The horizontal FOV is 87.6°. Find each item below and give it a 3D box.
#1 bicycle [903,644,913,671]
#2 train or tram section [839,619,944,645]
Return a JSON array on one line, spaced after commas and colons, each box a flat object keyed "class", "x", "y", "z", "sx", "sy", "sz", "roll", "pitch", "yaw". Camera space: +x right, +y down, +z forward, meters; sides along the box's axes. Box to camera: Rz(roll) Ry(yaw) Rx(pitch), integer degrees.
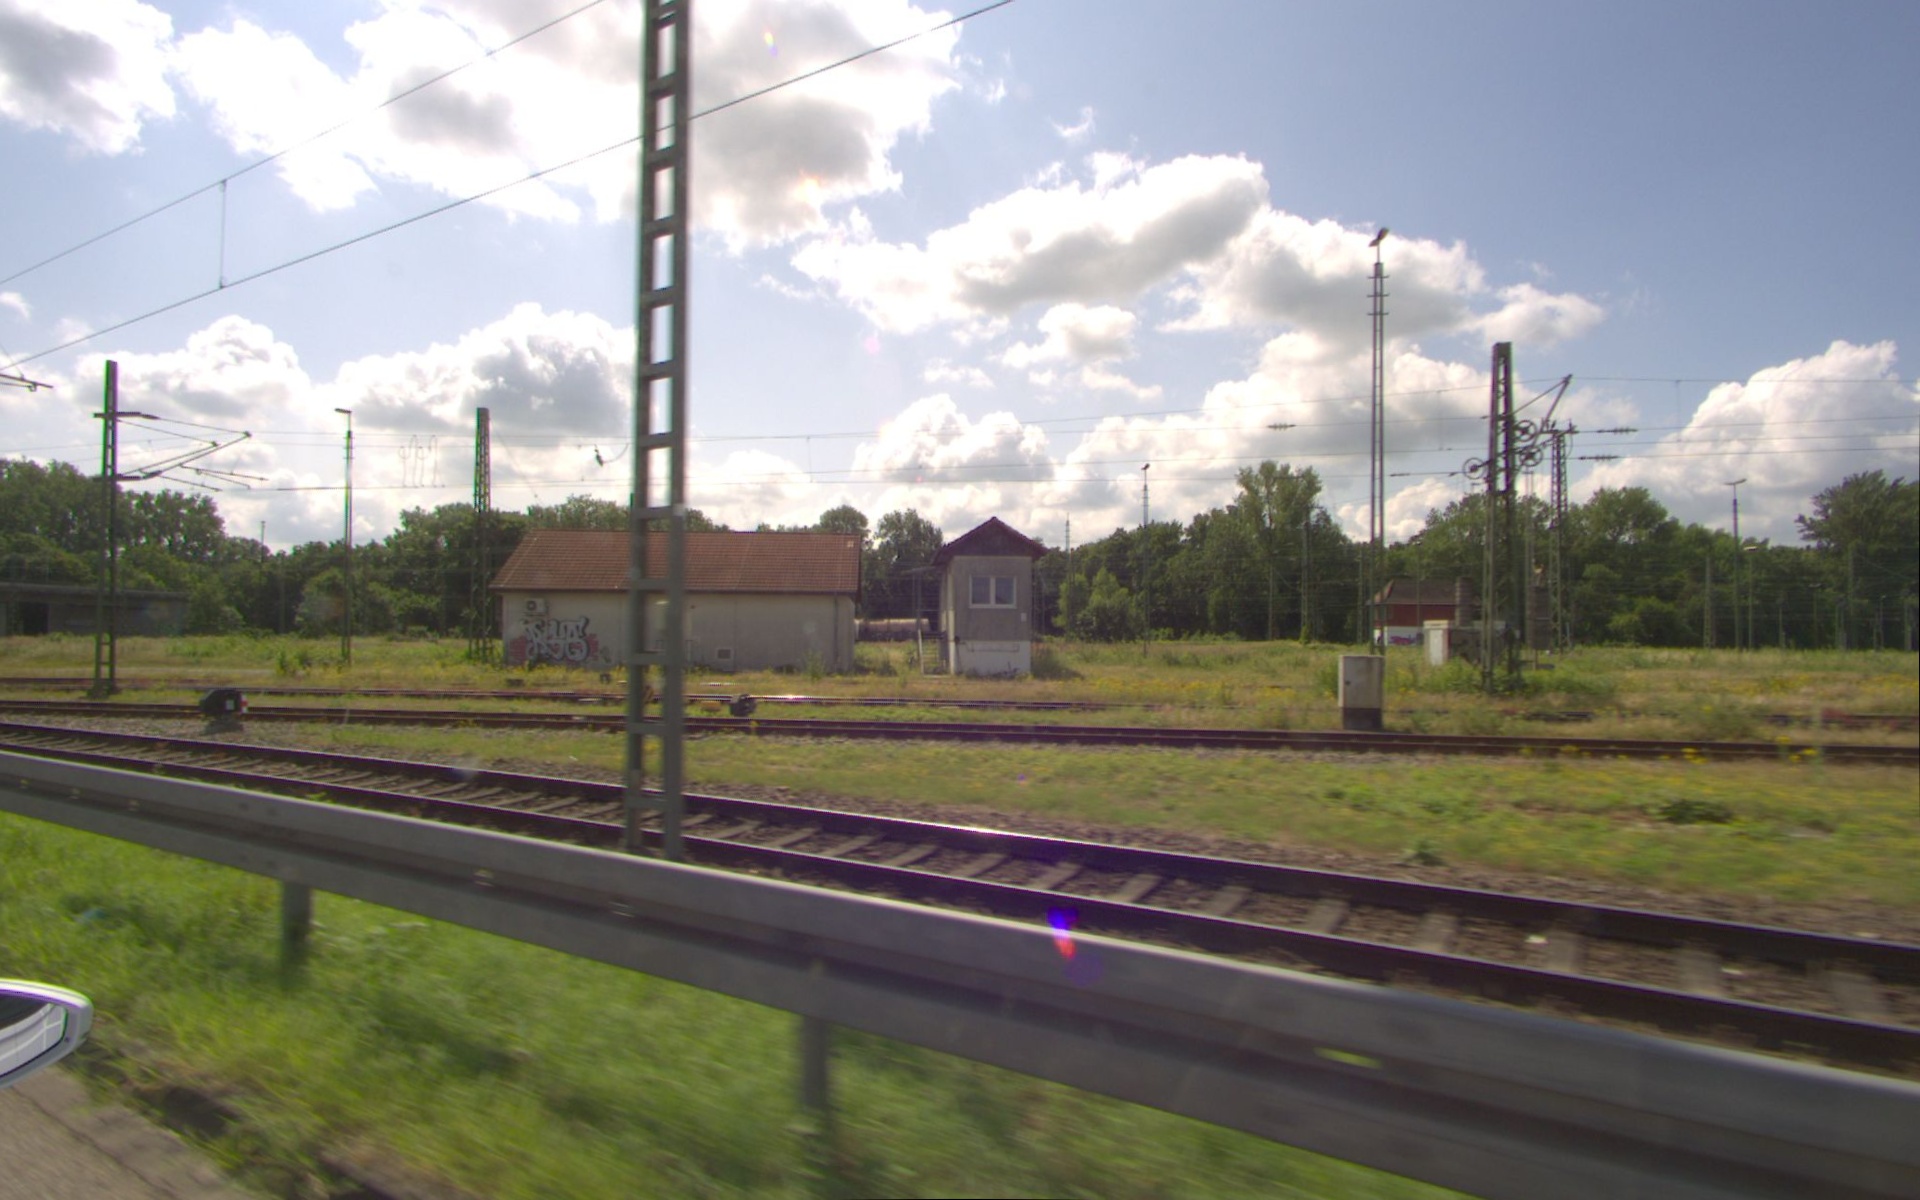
[{"class": "bicycle", "x": -2.406, "y": 2.635, "z": 46.137, "sx": 0.405, "sy": 1.219, "sz": 1.875, "roll": 1, "pitch": -2, "yaw": -1}, {"class": "train or tram section", "x": -9.002, "y": 4.186, "z": 131.626, "sx": 13.670, "sy": 3.347, "sz": 3.035, "roll": 0, "pitch": -1, "yaw": -5}]
